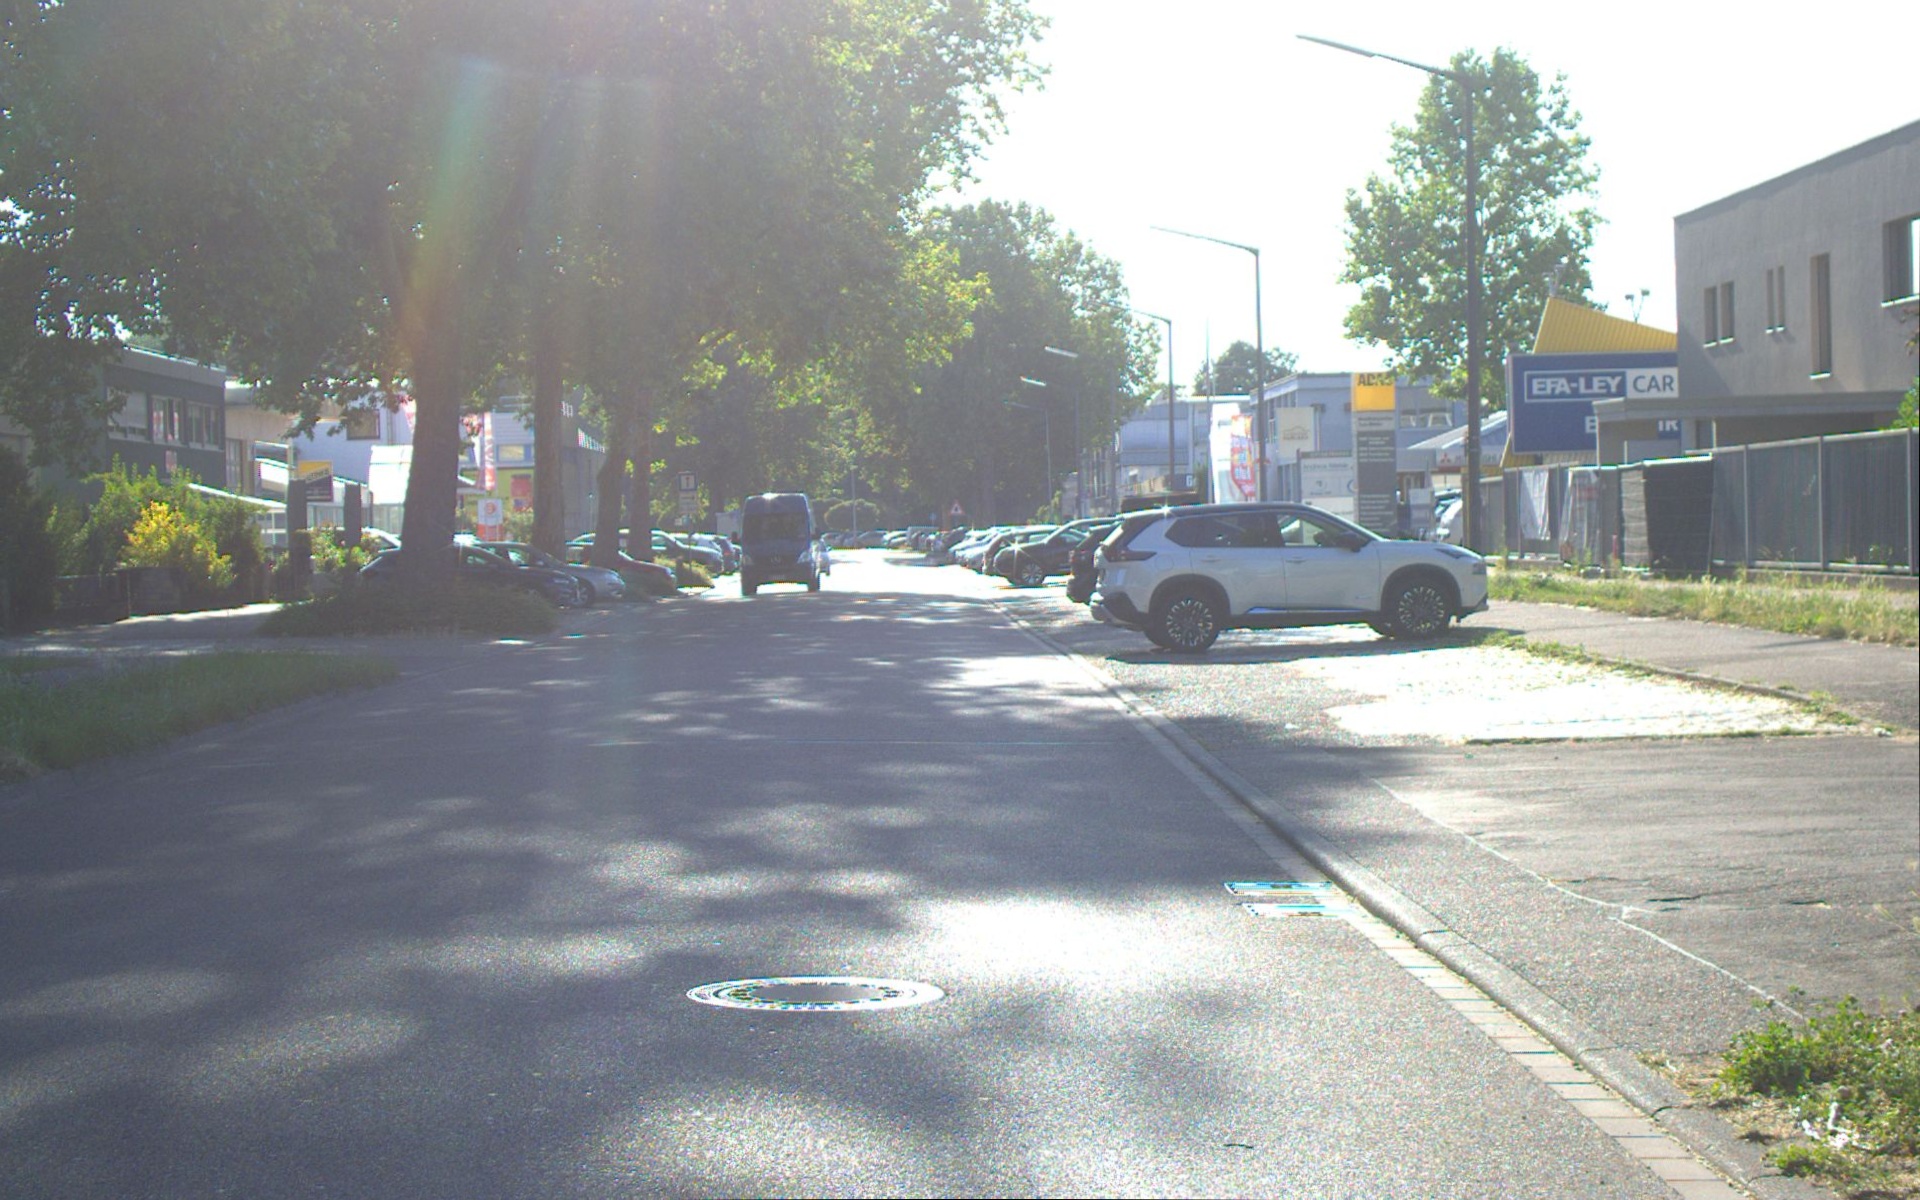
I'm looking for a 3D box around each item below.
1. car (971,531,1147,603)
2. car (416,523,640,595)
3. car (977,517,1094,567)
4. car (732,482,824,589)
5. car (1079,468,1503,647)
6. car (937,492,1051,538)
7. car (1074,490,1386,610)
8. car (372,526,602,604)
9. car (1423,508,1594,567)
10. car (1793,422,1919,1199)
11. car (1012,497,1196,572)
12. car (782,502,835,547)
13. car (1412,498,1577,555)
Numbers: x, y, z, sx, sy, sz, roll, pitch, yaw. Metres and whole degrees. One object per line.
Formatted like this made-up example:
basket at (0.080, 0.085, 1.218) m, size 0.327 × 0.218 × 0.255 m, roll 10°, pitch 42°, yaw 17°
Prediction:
car at (2.683, -0.913, 93.920) m, size 4.600 × 1.607 × 2.000 m, roll -4°, pitch 1°, yaw -1°
car at (-9.313, -0.902, 74.363) m, size 4.599 × 1.417 × 2.000 m, roll -1°, pitch 2°, yaw -1°
car at (2.695, -2.085, 123.512) m, size 3.986 × 1.582 × 1.868 m, roll -3°, pitch 1°, yaw -4°
car at (-4.793, -1.764, 91.539) m, size 2.127 × 2.650 × 7.002 m, roll -2°, pitch 2°, yaw -1°
car at (3.849, -0.511, 40.512) m, size 4.624 × 1.706 × 2.000 m, roll -4°, pitch 1°, yaw -2°
car at (1.418, -3.548, 144.480) m, size 4.554 × 1.592 × 2.202 m, roll -4°, pitch 1°, yaw -4°
car at (4.237, -0.796, 54.474) m, size 4.624 × 1.521 × 2.000 m, roll -4°, pitch 1°, yaw -2°
car at (-9.393, -0.716, 68.544) m, size 4.353 × 1.417 × 2.000 m, roll -1°, pitch 2°, yaw -3°
car at (14.114, -1.615, 88.584) m, size 3.986 × 1.492 × 2.000 m, roll 0°, pitch 1°, yaw -5°
car at (4.051, 0.375, 6.003) m, size 4.569 × 1.709 × 1.944 m, roll -4°, pitch 1°, yaw -4°
car at (3.701, -1.694, 88.985) m, size 4.601 × 1.574 × 2.000 m, roll -4°, pitch 1°, yaw 1°
car at (-5.682, -2.840, 129.221) m, size 1.838 × 1.565 × 3.802 m, roll -3°, pitch 1°, yaw -1°
car at (14.238, -1.956, 91.728) m, size 3.986 × 1.514 × 1.954 m, roll 0°, pitch 1°, yaw -5°
